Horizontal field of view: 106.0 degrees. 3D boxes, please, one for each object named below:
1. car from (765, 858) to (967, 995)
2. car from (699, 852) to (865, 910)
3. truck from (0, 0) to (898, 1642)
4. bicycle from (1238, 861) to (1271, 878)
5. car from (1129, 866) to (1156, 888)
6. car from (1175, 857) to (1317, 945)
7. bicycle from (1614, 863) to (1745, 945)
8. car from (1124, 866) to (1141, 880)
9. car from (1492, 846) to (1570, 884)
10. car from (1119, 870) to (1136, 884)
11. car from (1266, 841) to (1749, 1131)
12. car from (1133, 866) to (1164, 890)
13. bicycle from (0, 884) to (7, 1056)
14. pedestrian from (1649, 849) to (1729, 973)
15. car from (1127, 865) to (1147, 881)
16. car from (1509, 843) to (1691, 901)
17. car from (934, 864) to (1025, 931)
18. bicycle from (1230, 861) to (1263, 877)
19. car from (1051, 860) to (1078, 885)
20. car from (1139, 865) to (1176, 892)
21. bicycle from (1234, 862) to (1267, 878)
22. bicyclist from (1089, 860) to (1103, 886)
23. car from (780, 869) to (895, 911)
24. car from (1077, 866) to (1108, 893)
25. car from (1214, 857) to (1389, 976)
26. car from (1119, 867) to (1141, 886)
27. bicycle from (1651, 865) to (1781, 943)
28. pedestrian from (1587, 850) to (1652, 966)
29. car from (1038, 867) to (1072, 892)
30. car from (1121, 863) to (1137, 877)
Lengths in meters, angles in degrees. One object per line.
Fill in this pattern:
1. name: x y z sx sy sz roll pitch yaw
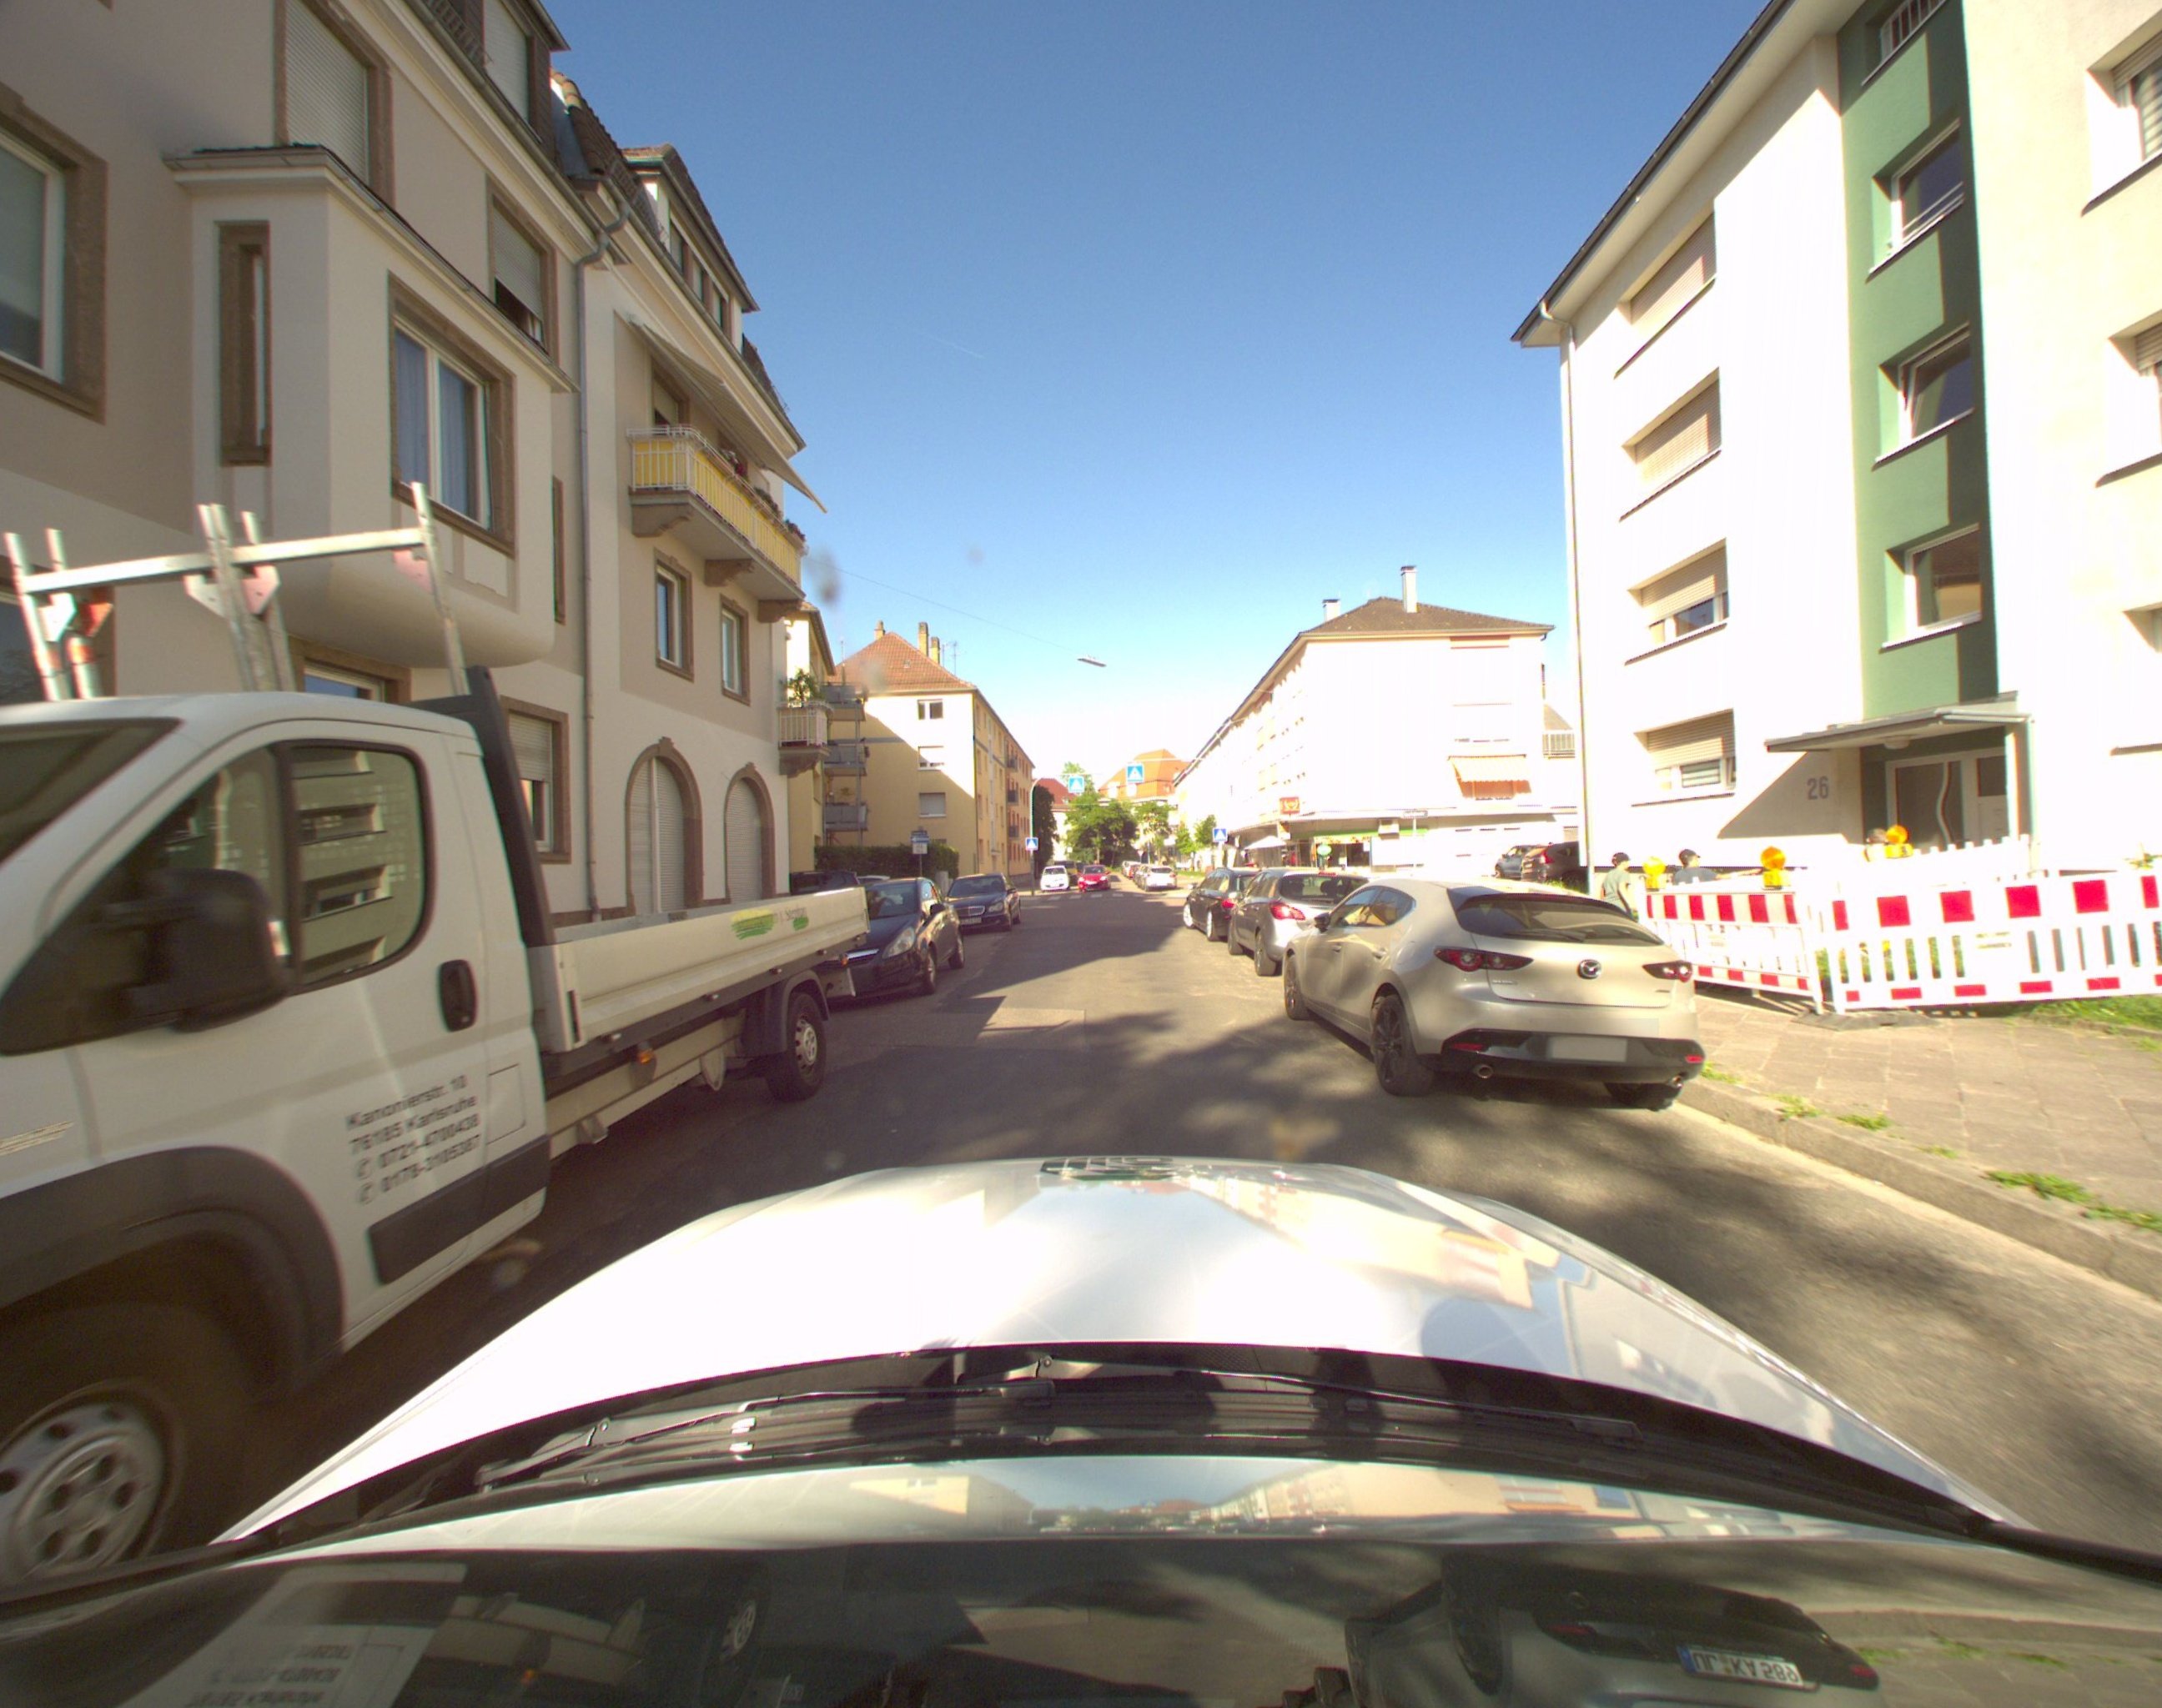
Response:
1. car: -2.677 0.882 11.089 1.640 1.416 4.079 -3 -2 -1
2. car: -8.774 0.811 24.280 4.474 1.616 1.768 1 -2 -17
3. truck: -2.982 -0.011 4.073 2.251 2.986 7.274 -4 -2 0
4. bicycle: 10.239 0.923 48.108 1.806 0.967 0.671 1 -2 -9
5. car: 4.216 1.553 55.998 1.632 1.441 3.418 1 -2 0
6. car: 3.226 0.933 16.908 1.848 1.523 4.773 2 -2 -1
7. bicycle: 9.025 0.723 12.382 0.557 1.119 1.898 -4 -1 2
8. car: 5.206 1.917 82.727 1.632 1.441 3.419 -1 -1 1
9. car: 19.935 0.507 36.206 1.573 1.613 3.475 1 -2 0
10. car: 5.000 2.434 87.645 1.632 1.441 3.419 1 -2 1
11. car: 2.877 0.804 6.716 1.785 1.471 4.340 5 -2 2
12. car: 4.143 1.474 50.402 1.685 1.441 3.418 1 -2 0
13. bicycle: -7.209 0.811 4.037 0.567 1.279 2.341 1 -1 2
14. pedestrian: 7.279 0.662 9.768 0.470 1.434 0.574 0 -1 -12
15. car: 5.244 1.807 76.596 1.632 1.441 3.419 1 -2 1
16. car: 15.358 0.528 24.294 4.220 1.613 1.827 1 -2 7
17. car: -2.444 1.062 20.532 1.699 1.416 4.372 -3 -2 -1
18. bicycle: 10.038 0.916 49.371 1.806 0.967 0.671 1 -2 -9
19. car: -1.203 1.373 60.580 1.691 1.779 4.100 1 -2 2
20. car: 4.236 1.367 45.402 1.838 1.441 3.419 1 -2 1
21. bicycle: 10.134 0.956 48.738 1.806 0.967 0.671 1 -2 -9
22. bicyclist: 0.961 1.212 52.551 0.782 1.621 0.957 -1 -2 6
23. car: -8.994 1.347 30.291 3.987 1.479 1.586 1 -2 -16
24. car: 0.649 1.441 46.481 1.692 1.441 3.418 1 -2 0
25. car: 3.115 0.870 12.293 1.639 1.460 3.939 2 -2 1
26. car: 3.896 1.827 65.058 1.632 1.441 3.418 1 -2 0
27. bicycle: 9.537 0.713 12.331 0.444 1.061 1.898 -4 -1 2
28. pedestrian: 6.853 0.670 10.375 0.450 1.434 0.506 0 -1 -9
29. car: -1.573 1.542 49.788 1.785 1.480 4.100 0 -1 2
30. car: 5.412 1.818 92.053 1.632 1.441 3.419 1 -2 1
